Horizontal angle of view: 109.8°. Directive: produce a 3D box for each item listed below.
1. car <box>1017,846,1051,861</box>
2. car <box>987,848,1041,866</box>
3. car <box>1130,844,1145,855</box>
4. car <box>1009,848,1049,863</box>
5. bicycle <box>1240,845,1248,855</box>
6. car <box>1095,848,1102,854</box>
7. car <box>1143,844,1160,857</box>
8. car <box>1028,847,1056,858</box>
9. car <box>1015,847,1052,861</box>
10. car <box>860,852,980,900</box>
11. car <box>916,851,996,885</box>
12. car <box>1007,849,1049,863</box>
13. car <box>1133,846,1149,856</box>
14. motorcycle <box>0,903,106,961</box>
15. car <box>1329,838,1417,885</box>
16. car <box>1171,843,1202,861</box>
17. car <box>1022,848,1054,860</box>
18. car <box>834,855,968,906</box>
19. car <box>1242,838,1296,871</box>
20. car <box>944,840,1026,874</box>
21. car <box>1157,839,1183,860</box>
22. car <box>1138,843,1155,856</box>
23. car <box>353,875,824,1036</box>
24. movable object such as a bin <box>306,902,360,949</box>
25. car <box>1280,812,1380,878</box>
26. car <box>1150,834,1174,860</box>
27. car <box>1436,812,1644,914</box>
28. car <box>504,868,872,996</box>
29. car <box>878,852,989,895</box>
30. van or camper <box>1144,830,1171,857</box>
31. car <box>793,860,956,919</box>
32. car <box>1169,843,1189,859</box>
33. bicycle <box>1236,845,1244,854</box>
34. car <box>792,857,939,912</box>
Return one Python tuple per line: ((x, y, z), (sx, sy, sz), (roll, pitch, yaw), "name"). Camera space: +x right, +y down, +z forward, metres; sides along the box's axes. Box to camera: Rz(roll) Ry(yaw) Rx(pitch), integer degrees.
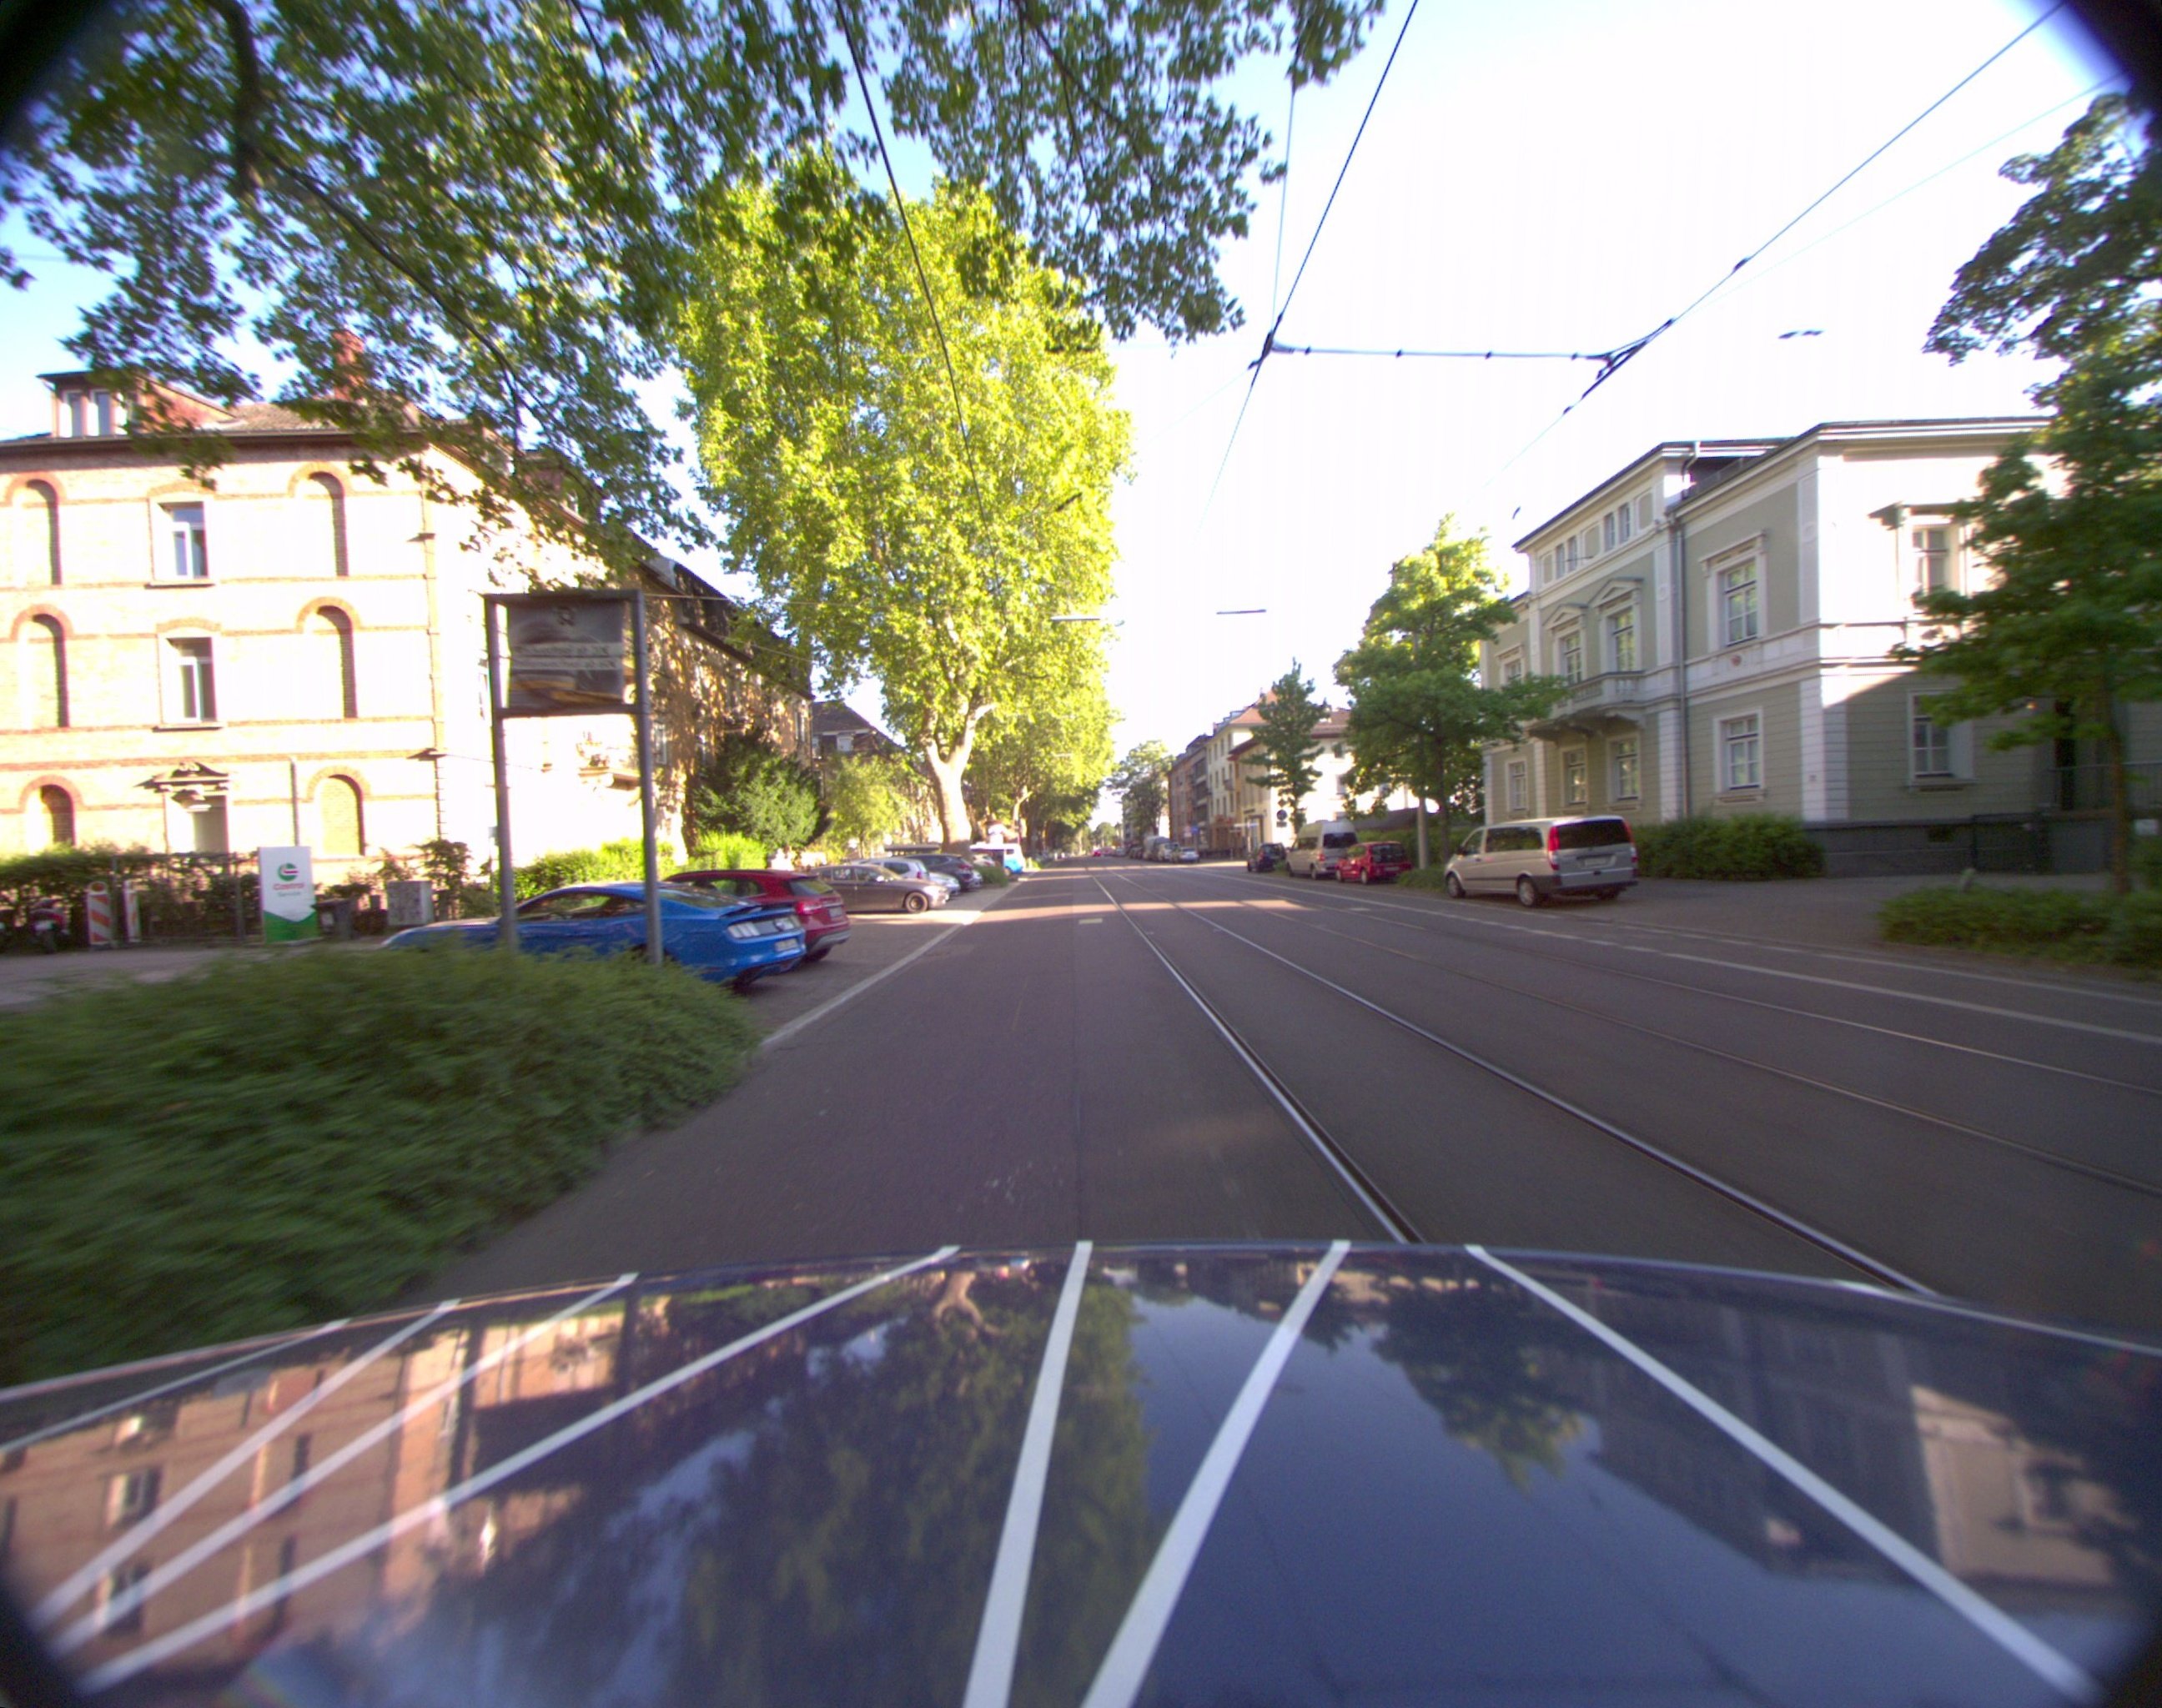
((-6.832, -0.099, 110.268), (4.636, 2.002, 1.893), (-1, 0, 2), "car")
((-6.242, 0.281, 70.881), (4.810, 1.621, 1.893), (-1, 0, -1), "car")
((8.850, -0.701, 119.460), (1.791, 1.660, 4.434), (-3, 1, -2), "car")
((-6.167, 0.146, 90.861), (4.611, 1.631, 1.893), (-1, 0, 2), "car")
((15.287, -0.409, 71.397), (0.362, 0.923, 1.647), (-2, 1, 0), "bicycle")
((4.542, -0.741, 195.251), (1.769, 1.448, 3.585), (-2, 1, 0), "car")
((9.188, -0.440, 98.960), (1.791, 1.506, 3.472), (-3, 1, -2), "car")
((-6.733, -0.193, 130.419), (4.611, 1.705, 1.893), (-1, 0, 2), "car")
((-6.321, 0.001, 101.546), (4.611, 1.631, 1.893), (-1, 0, 2), "car")
((-6.124, 0.821, 29.252), (4.212, 1.609, 1.878), (-2, 1, -3), "car")
((-6.266, 0.702, 38.539), (3.792, 1.609, 1.790), (-1, 1, -3), "car")
((-6.012, 0.272, 86.424), (4.611, 1.485, 1.893), (-1, 0, 2), "car")
((9.042, -0.484, 114.564), (1.791, 1.462, 4.434), (-3, 1, -2), "car")
((-21.982, 1.625, 15.862), (2.382, 1.096, 0.808), (-2, 1, 6), "motorcycle")
((10.577, 0.238, 27.796), (1.689, 1.530, 3.706), (-2, 1, -1), "car")
((9.536, -0.165, 69.218), (1.776, 1.484, 4.939), (-3, 1, -3), "car")
((-6.503, 0.040, 115.794), (4.611, 1.631, 1.893), (-1, 0, 2), "car")
((-6.306, 0.920, 26.907), (4.210, 1.565, 1.817), (-2, 1, 2), "car")
((10.333, 0.001, 41.989), (1.997, 1.680, 4.261), (-2, 1, 2), "car")
((-5.908, 0.183, 47.248), (4.859, 2.002, 2.193), (-1, 1, -4), "car")
((9.281, -0.470, 79.746), (1.928, 2.034, 4.940), (-3, 1, -2), "car")
((8.952, -0.624, 104.405), (1.791, 1.744, 4.434), (-3, 1, -2), "car")
((-5.564, 1.120, 8.906), (4.412, 1.534, 1.818), (-2, 1, 6), "car")
((-15.900, 1.508, 16.157), (0.658, 0.935, 0.447), (-2, 2, 4), "movable object such as a bin")
((10.544, -0.372, 32.663), (2.310, 2.494, 5.342), (-2, 1, -2), "car")
((9.171, -0.779, 85.875), (1.928, 2.731, 4.545), (-6, 1, 0), "car")
((10.403, 0.162, 17.780), (1.848, 1.977, 4.987), (-2, 1, 0), "car")
((-5.631, 1.091, 11.316), (4.414, 1.534, 1.952), (-2, 1, 2), "car")
((-6.123, 0.784, 31.922), (4.210, 1.609, 1.817), (-2, 1, 2), "car")
((9.235, -1.221, 92.579), (2.423, 2.960, 5.990), (-6, 1, 0), "van or camper")
((-5.903, 0.997, 22.097), (4.211, 1.439, 1.817), (-2, 1, -1), "car")
((9.519, -0.278, 73.983), (1.575, 1.484, 2.882), (-3, 1, 0), "car")
((15.291, -0.433, 73.077), (0.362, 0.923, 1.647), (-2, 1, 0), "bicycle")
((-6.926, 0.952, 24.714), (4.210, 1.547, 1.817), (-2, 1, 2), "car")
